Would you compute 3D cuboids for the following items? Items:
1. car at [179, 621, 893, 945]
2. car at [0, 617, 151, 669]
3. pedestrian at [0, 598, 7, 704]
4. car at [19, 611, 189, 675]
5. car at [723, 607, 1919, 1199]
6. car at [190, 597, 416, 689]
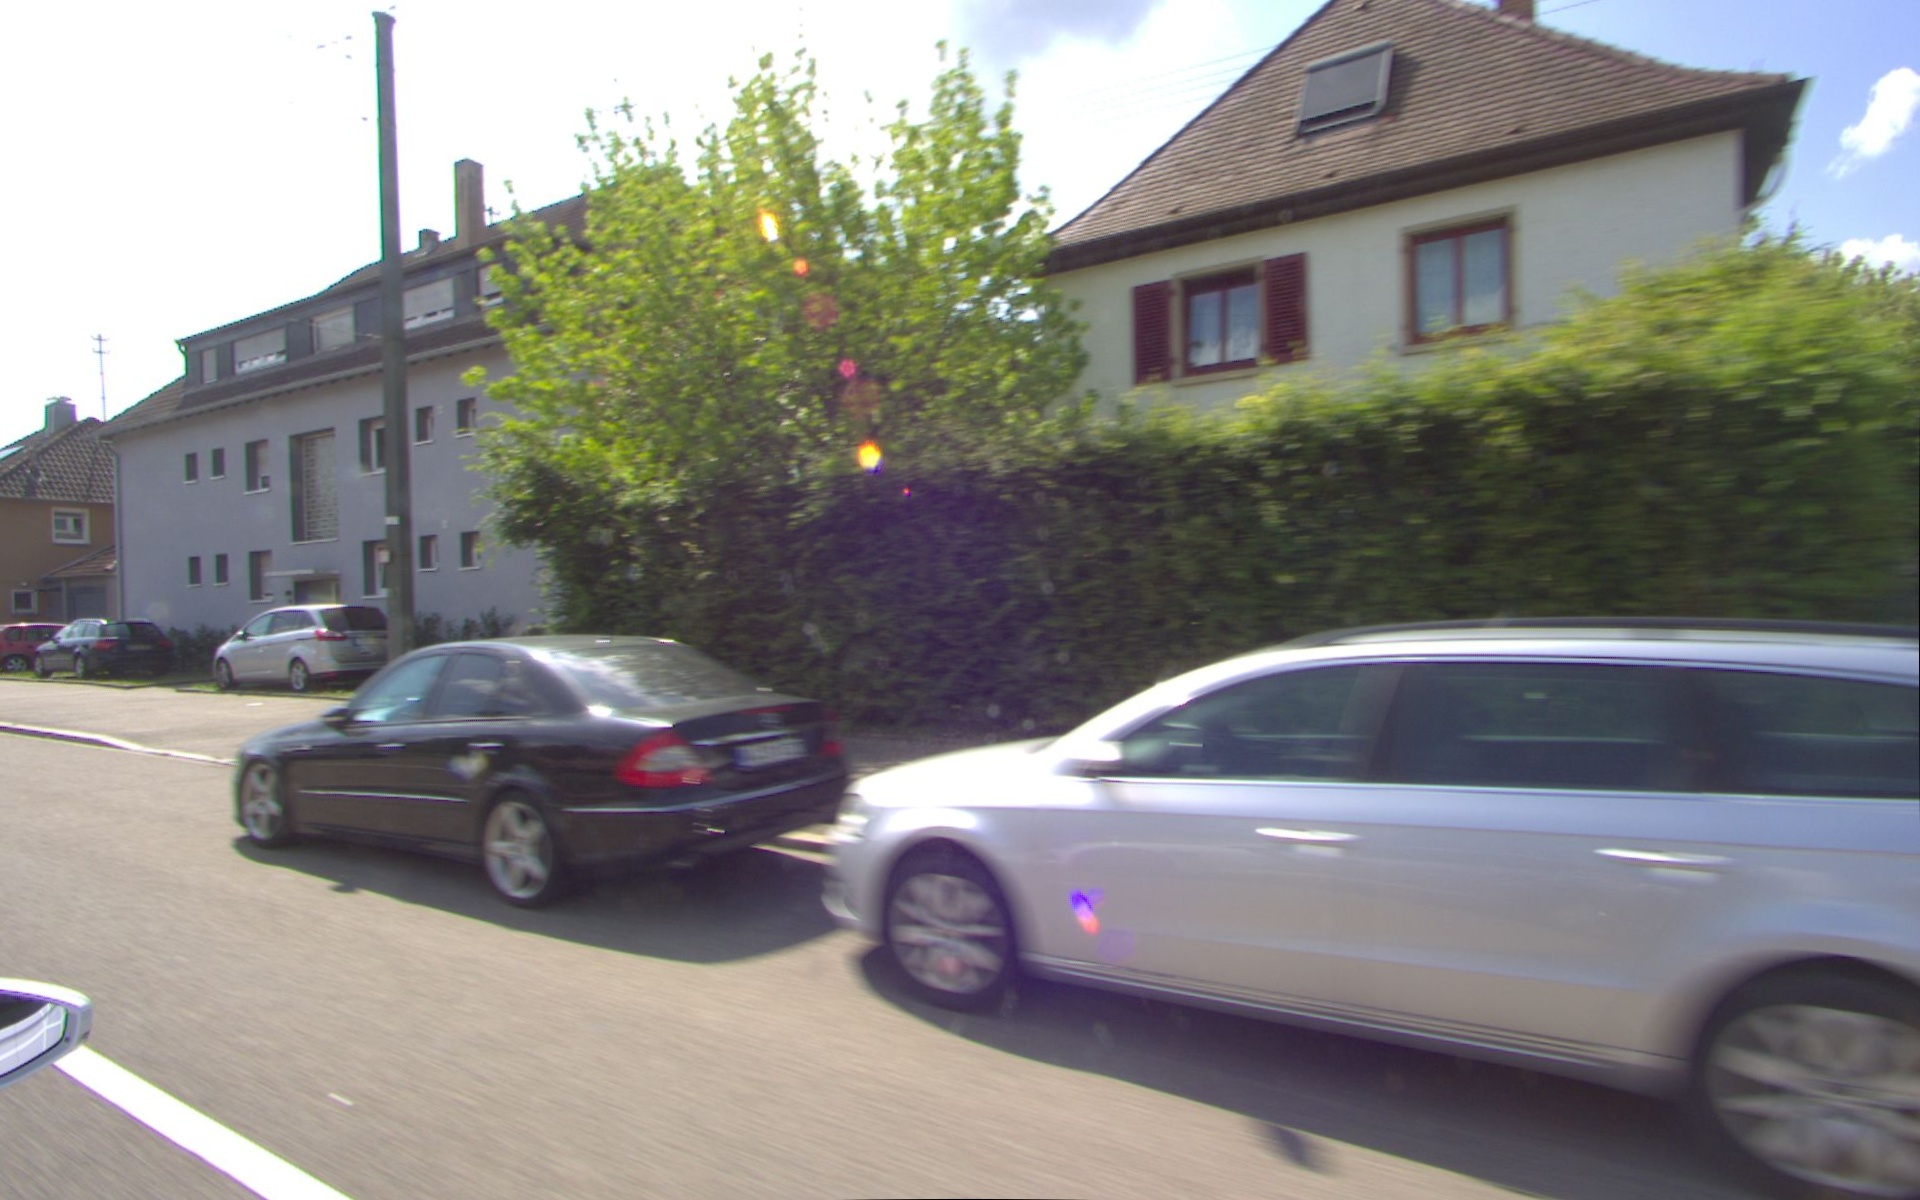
[{"bbox_3d":[-3.022,0.888,6.700,4.985,1.462,1.897,-1,-2,32],"label":"car"},{"bbox_3d":[-26.082,1.215,29.091,1.700,1.398,3.646,-1,-1,28],"label":"car"},{"bbox_3d":[-18.404,0.951,18.337,1.076,1.971,1.110,-1,0,31],"label":"pedestrian"},{"bbox_3d":[-21.676,1.048,25.320,4.785,1.442,1.796,-1,0,30],"label":"car"},{"bbox_3d":[1.544,0.814,3.896,4.934,1.474,1.887,-2,-2,31],"label":"car"},{"bbox_3d":[-13.294,0.842,20.209,4.696,1.669,1.755,-1,0,28],"label":"car"}]
